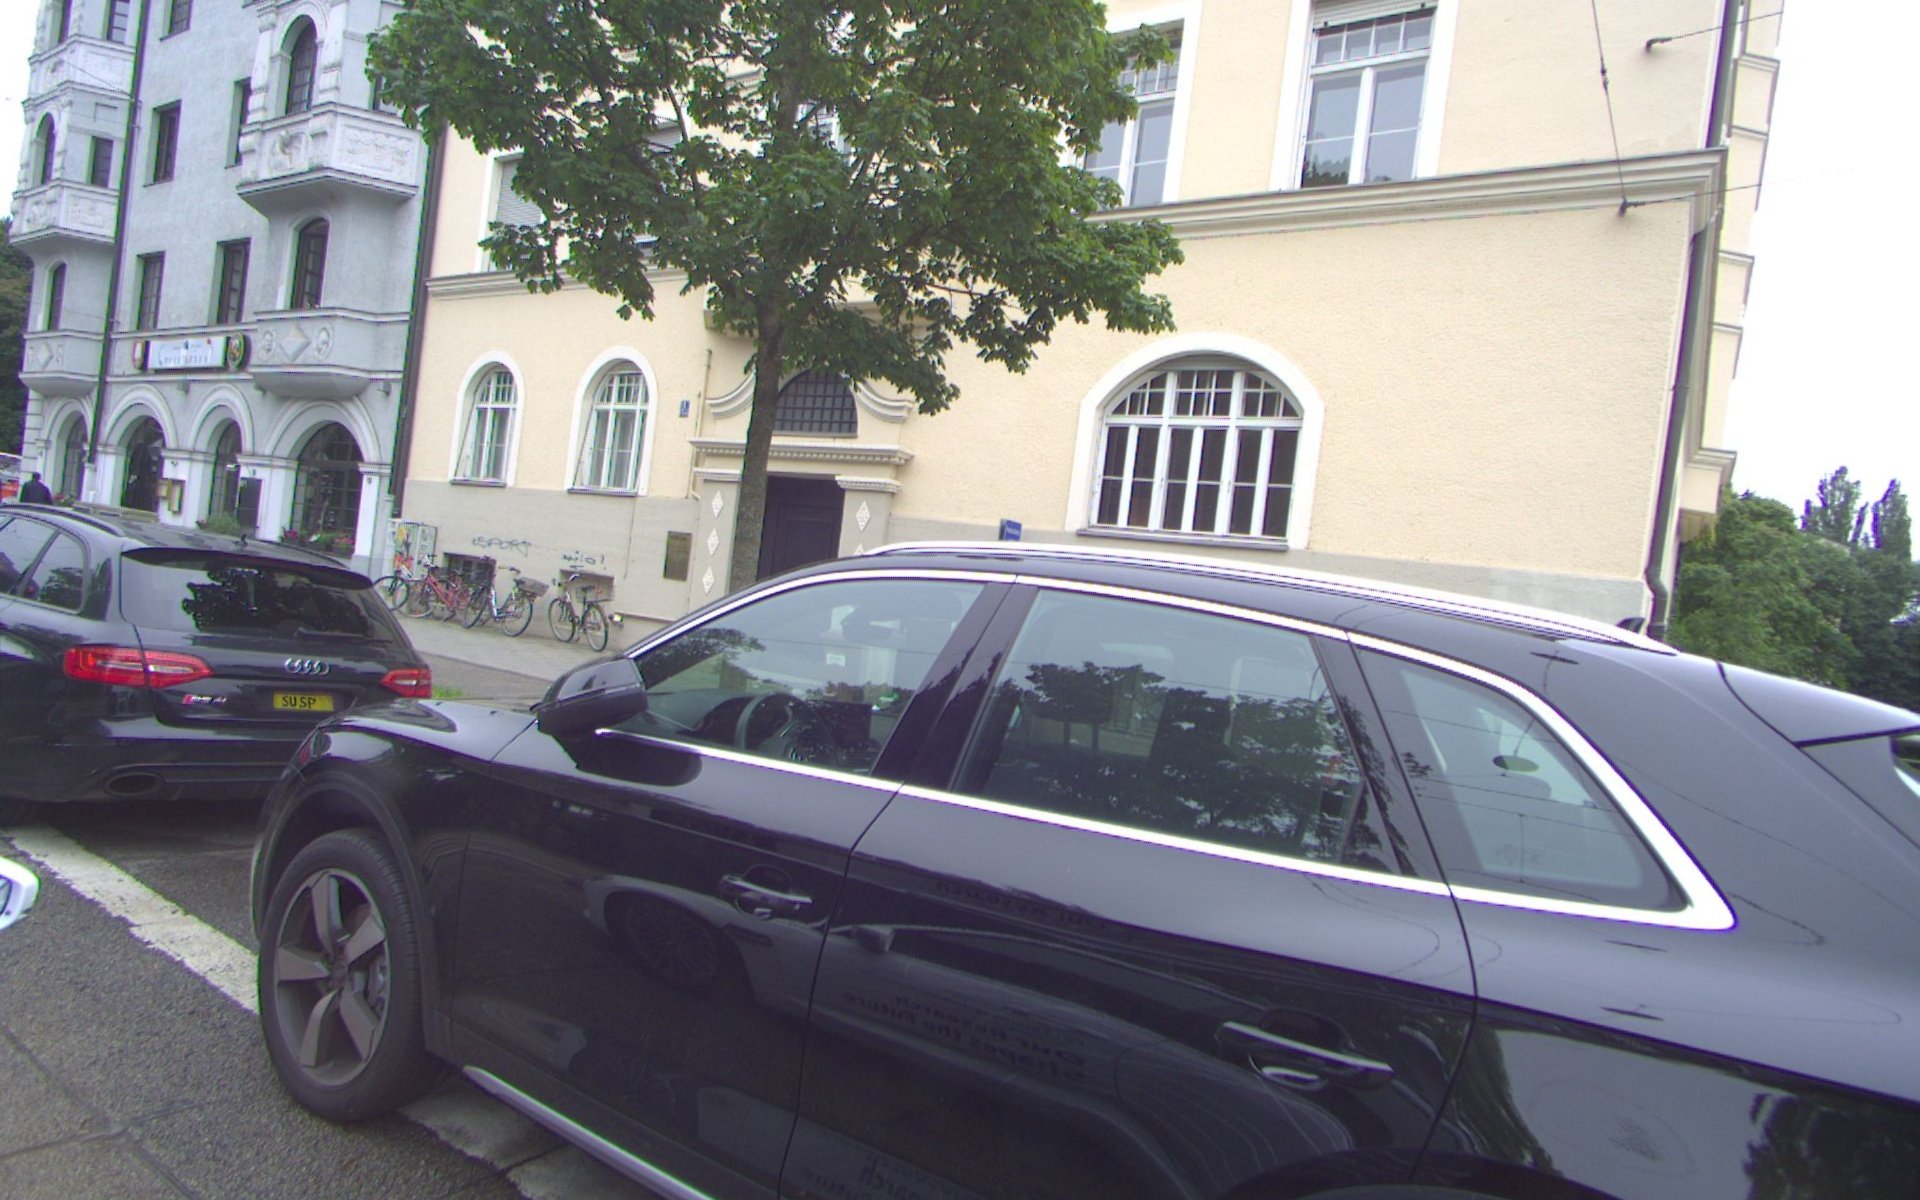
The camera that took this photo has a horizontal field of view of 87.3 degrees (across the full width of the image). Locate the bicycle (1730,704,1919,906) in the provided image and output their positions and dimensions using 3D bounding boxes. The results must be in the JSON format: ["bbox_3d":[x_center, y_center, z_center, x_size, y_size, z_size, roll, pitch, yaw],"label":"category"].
[{"bbox_3d":[6.958,1.580,7.719,1.511,1.327,0.332,7,-1,30],"label":"bicycle"}]

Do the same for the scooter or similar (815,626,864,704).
[{"bbox_3d":[-1.518,0.816,12.712,0.413,0.921,0.348,8,-1,11],"label":"scooter or similar"}]

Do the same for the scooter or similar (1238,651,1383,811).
[{"bbox_3d":[3.335,1.223,9.609,1.123,1.328,0.262,7,-1,32],"label":"scooter or similar"}]

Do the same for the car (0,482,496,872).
[{"bbox_3d":[-4.884,0.169,5.715,4.525,1.442,1.720,7,-2,31],"label":"car"}]

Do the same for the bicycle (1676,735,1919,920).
[{"bbox_3d":[6.550,1.736,7.857,1.417,1.119,0.287,7,0,24],"label":"bicycle"}]

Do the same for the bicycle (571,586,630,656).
[{"bbox_3d":[-5.426,0.317,15.191,0.871,0.941,0.222,7,-1,31],"label":"bicycle"}]

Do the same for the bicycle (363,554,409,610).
[{"bbox_3d":[-10.583,-0.334,18.527,0.871,0.941,0.259,7,-1,33],"label":"bicycle"}]

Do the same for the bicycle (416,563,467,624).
[{"bbox_3d":[-9.028,-0.115,17.516,0.871,0.941,0.306,7,-1,34],"label":"bicycle"}]

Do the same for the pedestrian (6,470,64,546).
[{"bbox_3d":[-23.478,-2.334,25.531,0.829,1.752,0.706,7,-1,32],"label":"pedestrian"}]

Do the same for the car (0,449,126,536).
[{"bbox_3d":[-36.456,-4.321,39.286,2.192,2.642,5.311,7,-2,29],"label":"car"}]

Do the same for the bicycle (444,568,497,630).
[{"bbox_3d":[-8.255,-0.019,16.962,0.871,0.941,0.273,7,-1,33],"label":"bicycle"}]

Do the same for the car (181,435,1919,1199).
[{"bbox_3d":[0.122,0.655,2.544,4.414,1.677,1.777,7,-2,32],"label":"car"}]

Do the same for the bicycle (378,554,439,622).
[{"bbox_3d":[-9.535,-0.216,17.374,1.203,1.051,0.242,7,-1,32],"label":"bicycle"}]

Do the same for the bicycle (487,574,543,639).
[{"bbox_3d":[-7.175,0.100,16.220,0.871,0.941,0.285,7,-1,33],"label":"bicycle"}]

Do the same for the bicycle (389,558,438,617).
[{"bbox_3d":[-9.806,-0.227,18.042,0.871,0.941,0.291,7,-1,33],"label":"bicycle"}]

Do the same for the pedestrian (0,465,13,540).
[{"bbox_3d":[-24.354,-2.497,25.088,0.855,1.837,0.706,7,-1,32],"label":"pedestrian"}]
